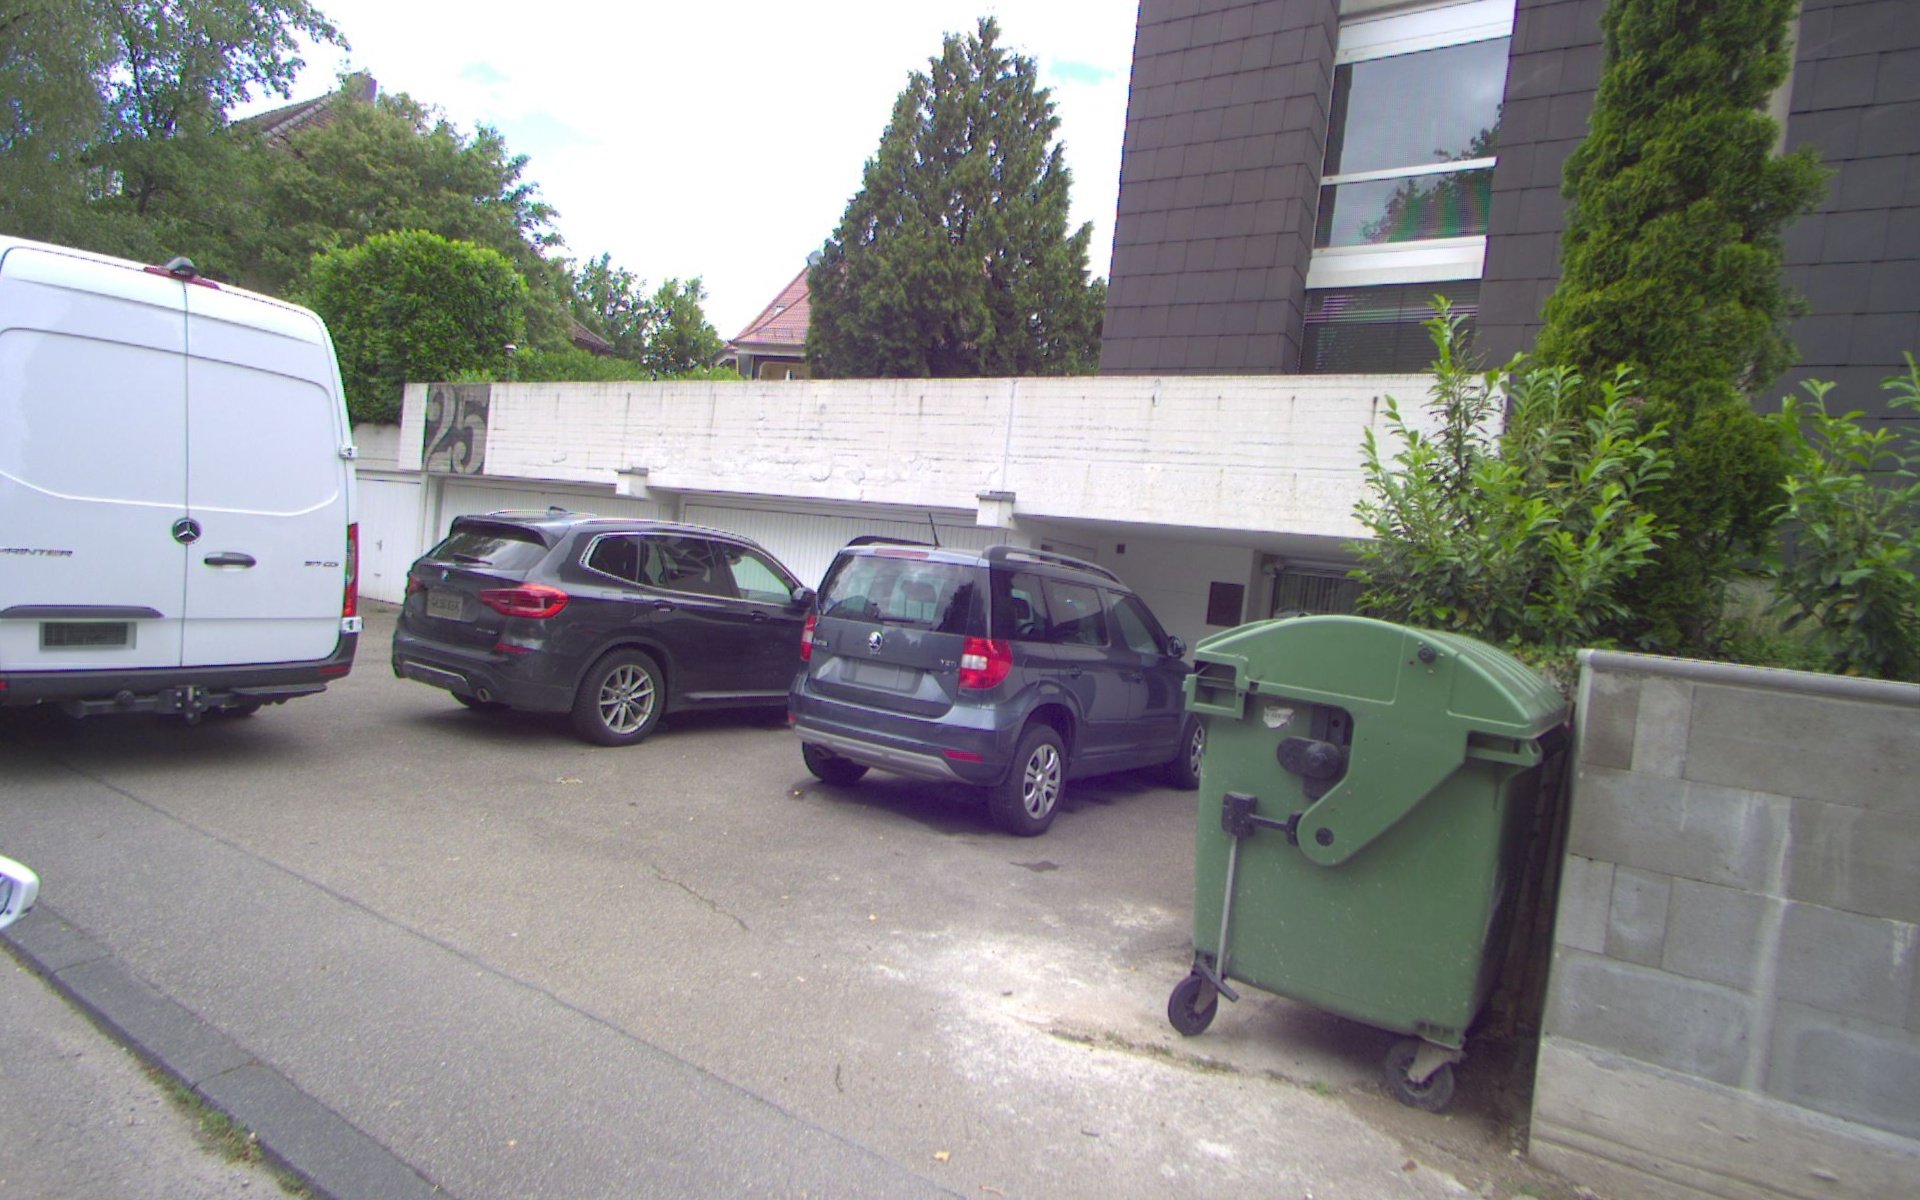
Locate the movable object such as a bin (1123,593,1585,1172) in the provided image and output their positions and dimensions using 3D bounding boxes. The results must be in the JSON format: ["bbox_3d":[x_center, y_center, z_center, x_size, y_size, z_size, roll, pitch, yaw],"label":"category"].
[{"bbox_3d":[1.429,0.782,3.549,1.161,1.470,1.300,7,2,31],"label":"movable object such as a bin"}]

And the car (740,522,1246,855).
[{"bbox_3d":[0.493,0.519,7.376,1.801,1.674,3.796,7,2,35],"label":"car"}]

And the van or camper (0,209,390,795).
[{"bbox_3d":[-6.661,-0.719,6.835,6.252,2.664,1.963,7,4,31],"label":"van or camper"}]

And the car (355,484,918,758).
[{"bbox_3d":[-2.430,0.172,8.706,1.800,1.674,4.395,7,2,33],"label":"car"}]
